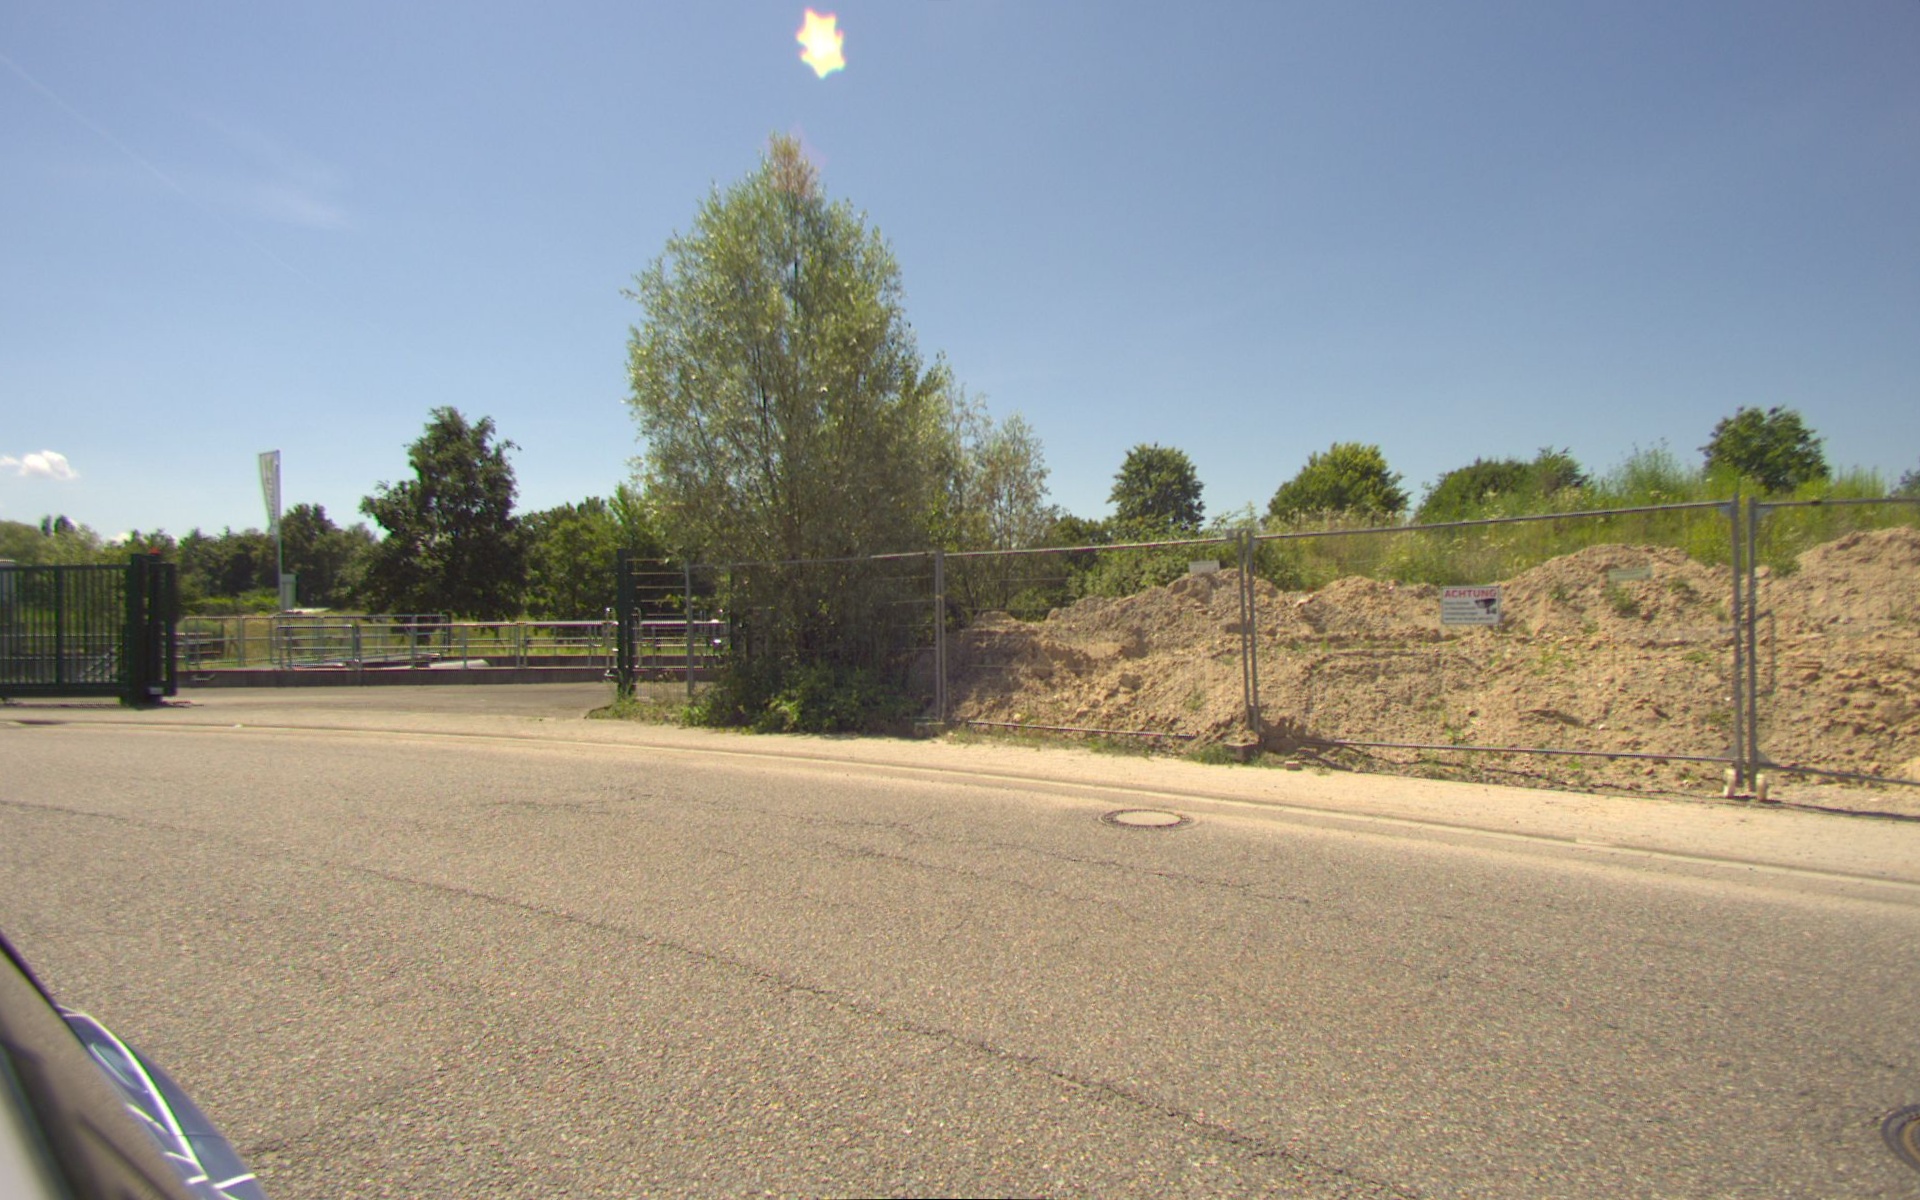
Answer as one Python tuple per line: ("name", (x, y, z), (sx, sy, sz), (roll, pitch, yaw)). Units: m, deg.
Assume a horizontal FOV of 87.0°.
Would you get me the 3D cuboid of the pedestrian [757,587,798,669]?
("pedestrian", (-4.940, 0.751, 27.440), (0.904, 2.167, 0.879), (-1, -2, 0))
